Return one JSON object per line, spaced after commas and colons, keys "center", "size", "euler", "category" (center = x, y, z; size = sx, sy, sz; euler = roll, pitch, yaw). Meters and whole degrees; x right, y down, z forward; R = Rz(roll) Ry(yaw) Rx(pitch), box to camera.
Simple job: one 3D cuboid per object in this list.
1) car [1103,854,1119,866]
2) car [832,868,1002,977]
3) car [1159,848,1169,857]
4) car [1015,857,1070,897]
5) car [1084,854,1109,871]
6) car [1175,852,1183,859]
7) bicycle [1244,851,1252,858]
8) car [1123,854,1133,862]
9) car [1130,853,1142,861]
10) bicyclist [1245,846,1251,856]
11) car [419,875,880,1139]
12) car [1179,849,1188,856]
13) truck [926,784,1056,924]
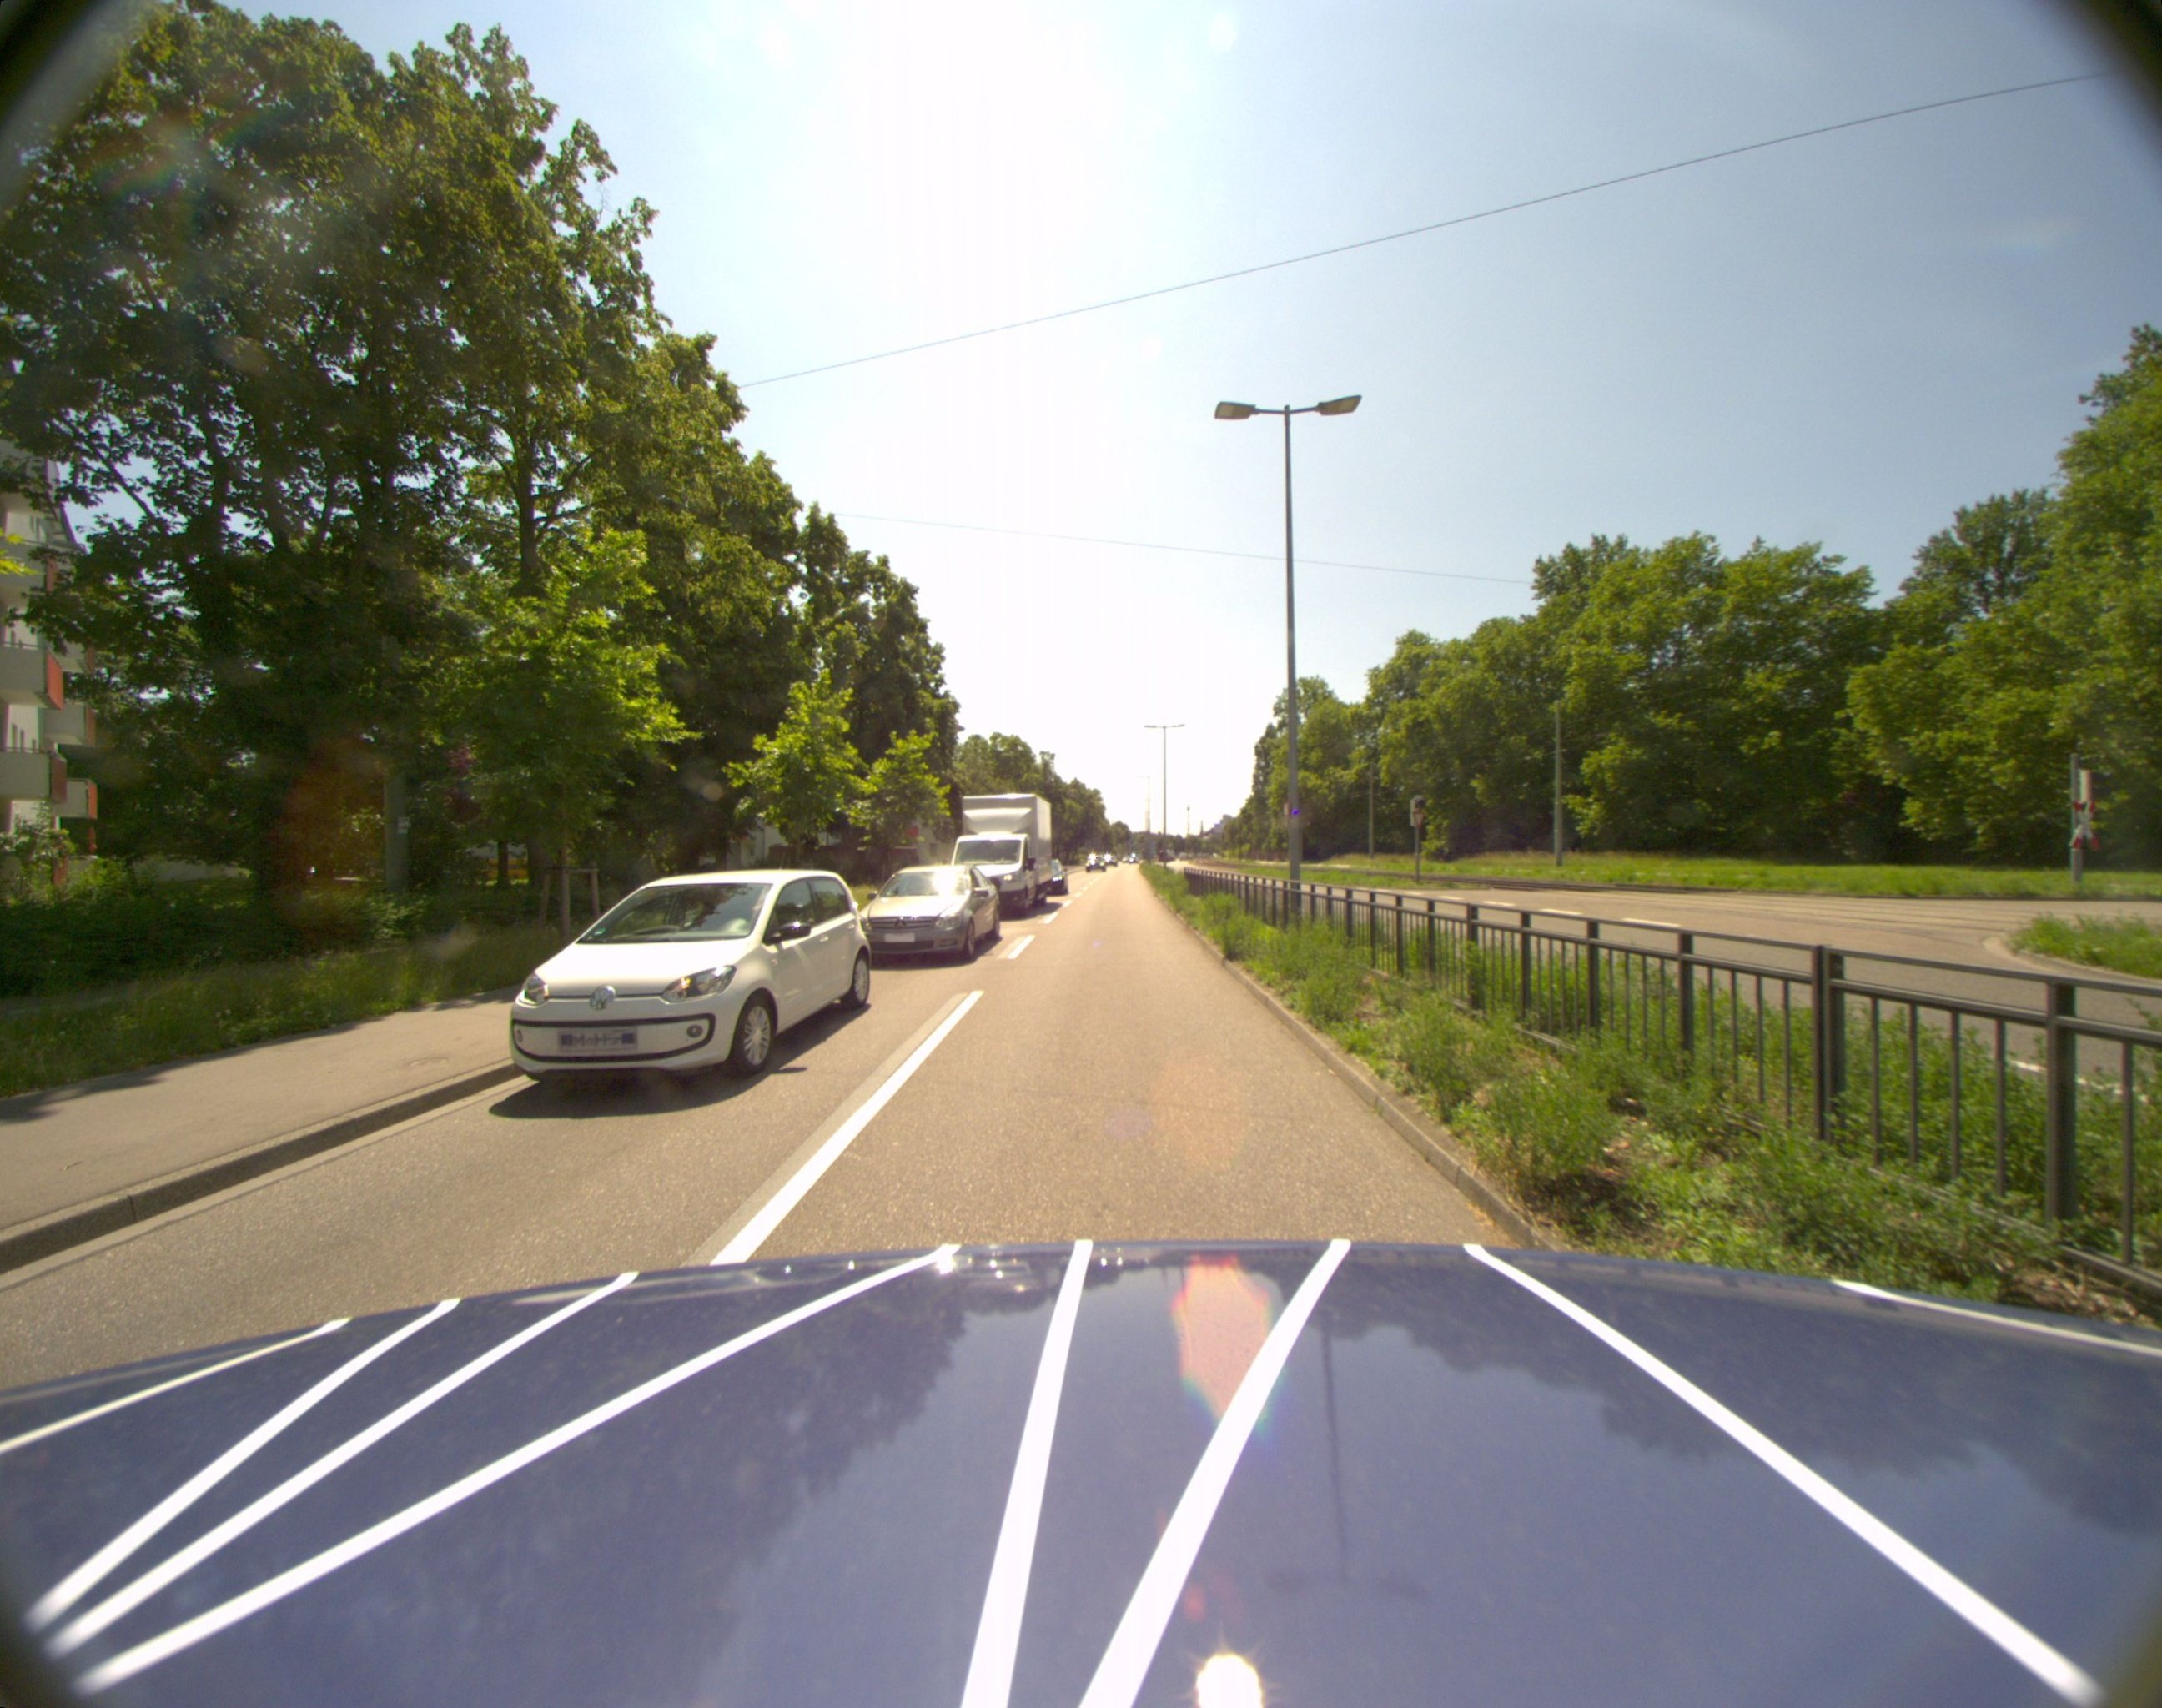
{"center": [4.182, 0.818, 105.134], "size": [1.997, 1.499, 4.002], "euler": [-1, 0, 7], "category": "car"}
{"center": [-2.477, 0.983, 12.537], "size": [1.840, 1.400, 4.087], "euler": [-1, 0, 1], "category": "car"}
{"center": [16.783, -0.326, 153.899], "size": [1.997, 1.847, 4.002], "euler": [-1, 0, 7], "category": "car"}
{"center": [-1.510, 0.910, 31.462], "size": [1.998, 1.499, 4.000], "euler": [-1, 0, 1], "category": "car"}
{"center": [1.509, 0.825, 73.597], "size": [1.997, 1.499, 4.002], "euler": [-1, 0, 7], "category": "car"}
{"center": [26.804, 0.288, 207.730], "size": [1.998, 1.847, 4.001], "euler": [-1, 0, 5], "category": "car"}
{"center": [31.420, 0.062, 142.832], "size": [0.862, 1.155, 2.787], "euler": [-1, 0, 1], "category": "bicycle"}
{"center": [9.950, 0.788, 159.666], "size": [1.951, 1.499, 4.002], "euler": [-1, 0, 7], "category": "car"}
{"center": [10.024, 0.536, 139.053], "size": [1.997, 1.499, 4.002], "euler": [-1, 0, 7], "category": "car"}
{"center": [31.434, -0.535, 142.768], "size": [0.862, 1.796, 1.118], "euler": [-1, 1, 1], "category": "bicyclist"}
{"center": [-3.128, 0.986, 6.516], "size": [1.730, 1.470, 3.771], "euler": [-1, 0, 1], "category": "car"}
{"center": [27.053, -0.300, 200.916], "size": [1.998, 1.847, 4.001], "euler": [-1, 0, 5], "category": "car"}
{"center": [-2.301, -0.012, 22.276], "size": [2.433, 3.326, 7.923], "euler": [-1, 0, 3], "category": "truck"}
